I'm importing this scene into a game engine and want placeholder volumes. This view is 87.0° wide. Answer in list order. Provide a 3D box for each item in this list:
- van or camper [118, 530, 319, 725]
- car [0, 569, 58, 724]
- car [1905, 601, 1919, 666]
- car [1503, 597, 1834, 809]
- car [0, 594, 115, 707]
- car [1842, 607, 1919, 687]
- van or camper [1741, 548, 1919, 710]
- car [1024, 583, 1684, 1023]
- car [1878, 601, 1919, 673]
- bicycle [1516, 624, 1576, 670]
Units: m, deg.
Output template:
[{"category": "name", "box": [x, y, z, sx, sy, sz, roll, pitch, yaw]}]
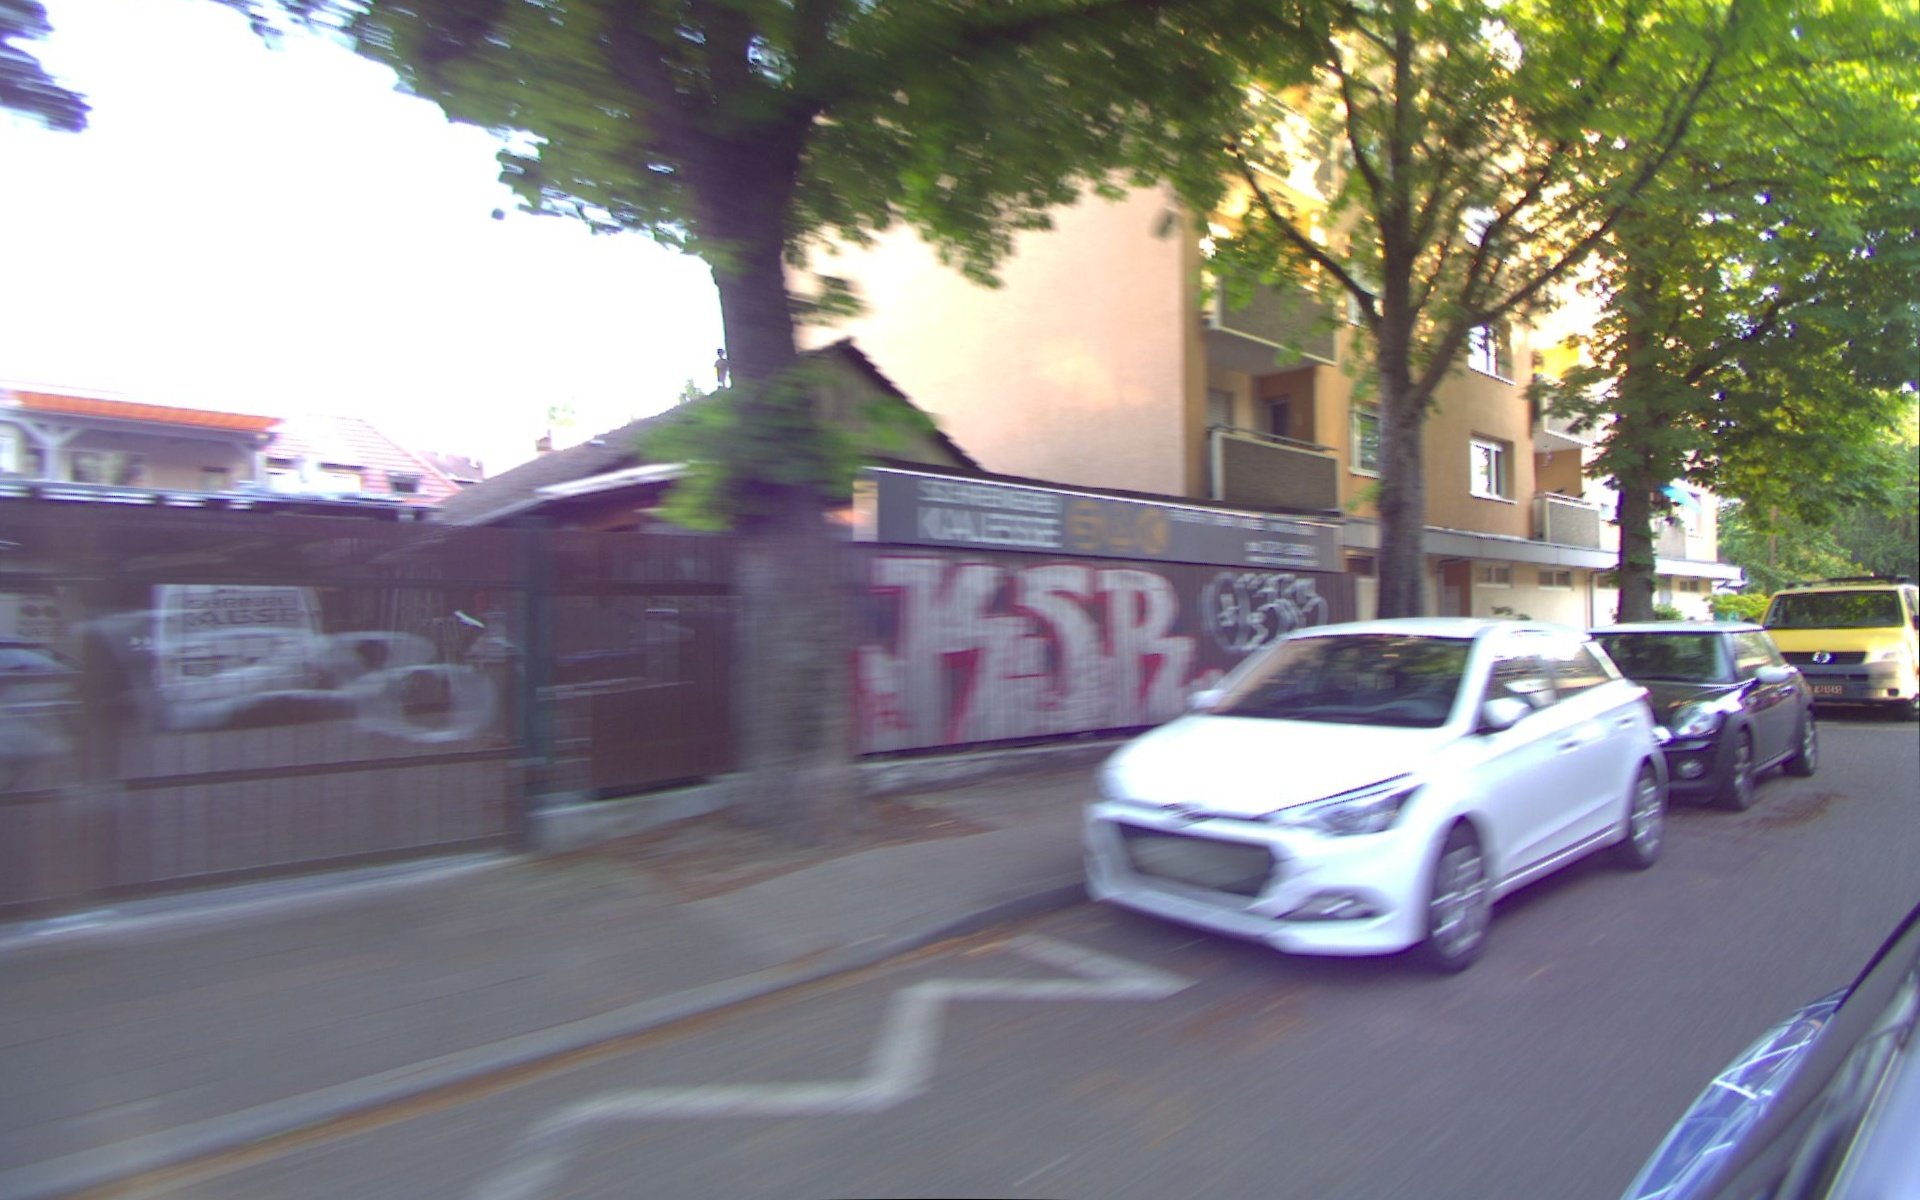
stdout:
[{"category": "van or camper", "box": [-11.154, 0.397, 15.113, 1.966, 2.485, 3.991, 2, -2, -42]}, {"category": "car", "box": [-14.274, 0.594, 12.930, 4.006, 2.026, 1.857, 1, -2, -41]}, {"category": "car", "box": [25.305, 0.824, 25.470, 4.120, 1.583, 1.794, 1, -1, -41]}, {"category": "car", "box": [6.208, 0.756, 8.756, 3.393, 1.469, 1.565, 1, -2, -41]}, {"category": "car", "box": [-15.671, 0.771, 15.601, 4.006, 1.706, 1.857, 1, -2, -41]}, {"category": "car", "box": [18.135, 0.858, 19.091, 3.928, 1.400, 1.610, 1, -2, -39]}, {"category": "van or camper", "box": [13.888, 0.443, 15.567, 5.002, 2.123, 2.066, 1, -2, -42]}, {"category": "car", "box": [2.352, 0.757, 5.520, 3.955, 1.539, 1.724, 1, -2, -41]}, {"category": "car", "box": [21.780, 0.808, 22.493, 3.416, 1.530, 1.612, 1, -1, -41]}, {"category": "bicycle", "box": [12.308, 0.971, 21.233, 1.803, 0.933, 0.524, 1, -2, -41]}]
